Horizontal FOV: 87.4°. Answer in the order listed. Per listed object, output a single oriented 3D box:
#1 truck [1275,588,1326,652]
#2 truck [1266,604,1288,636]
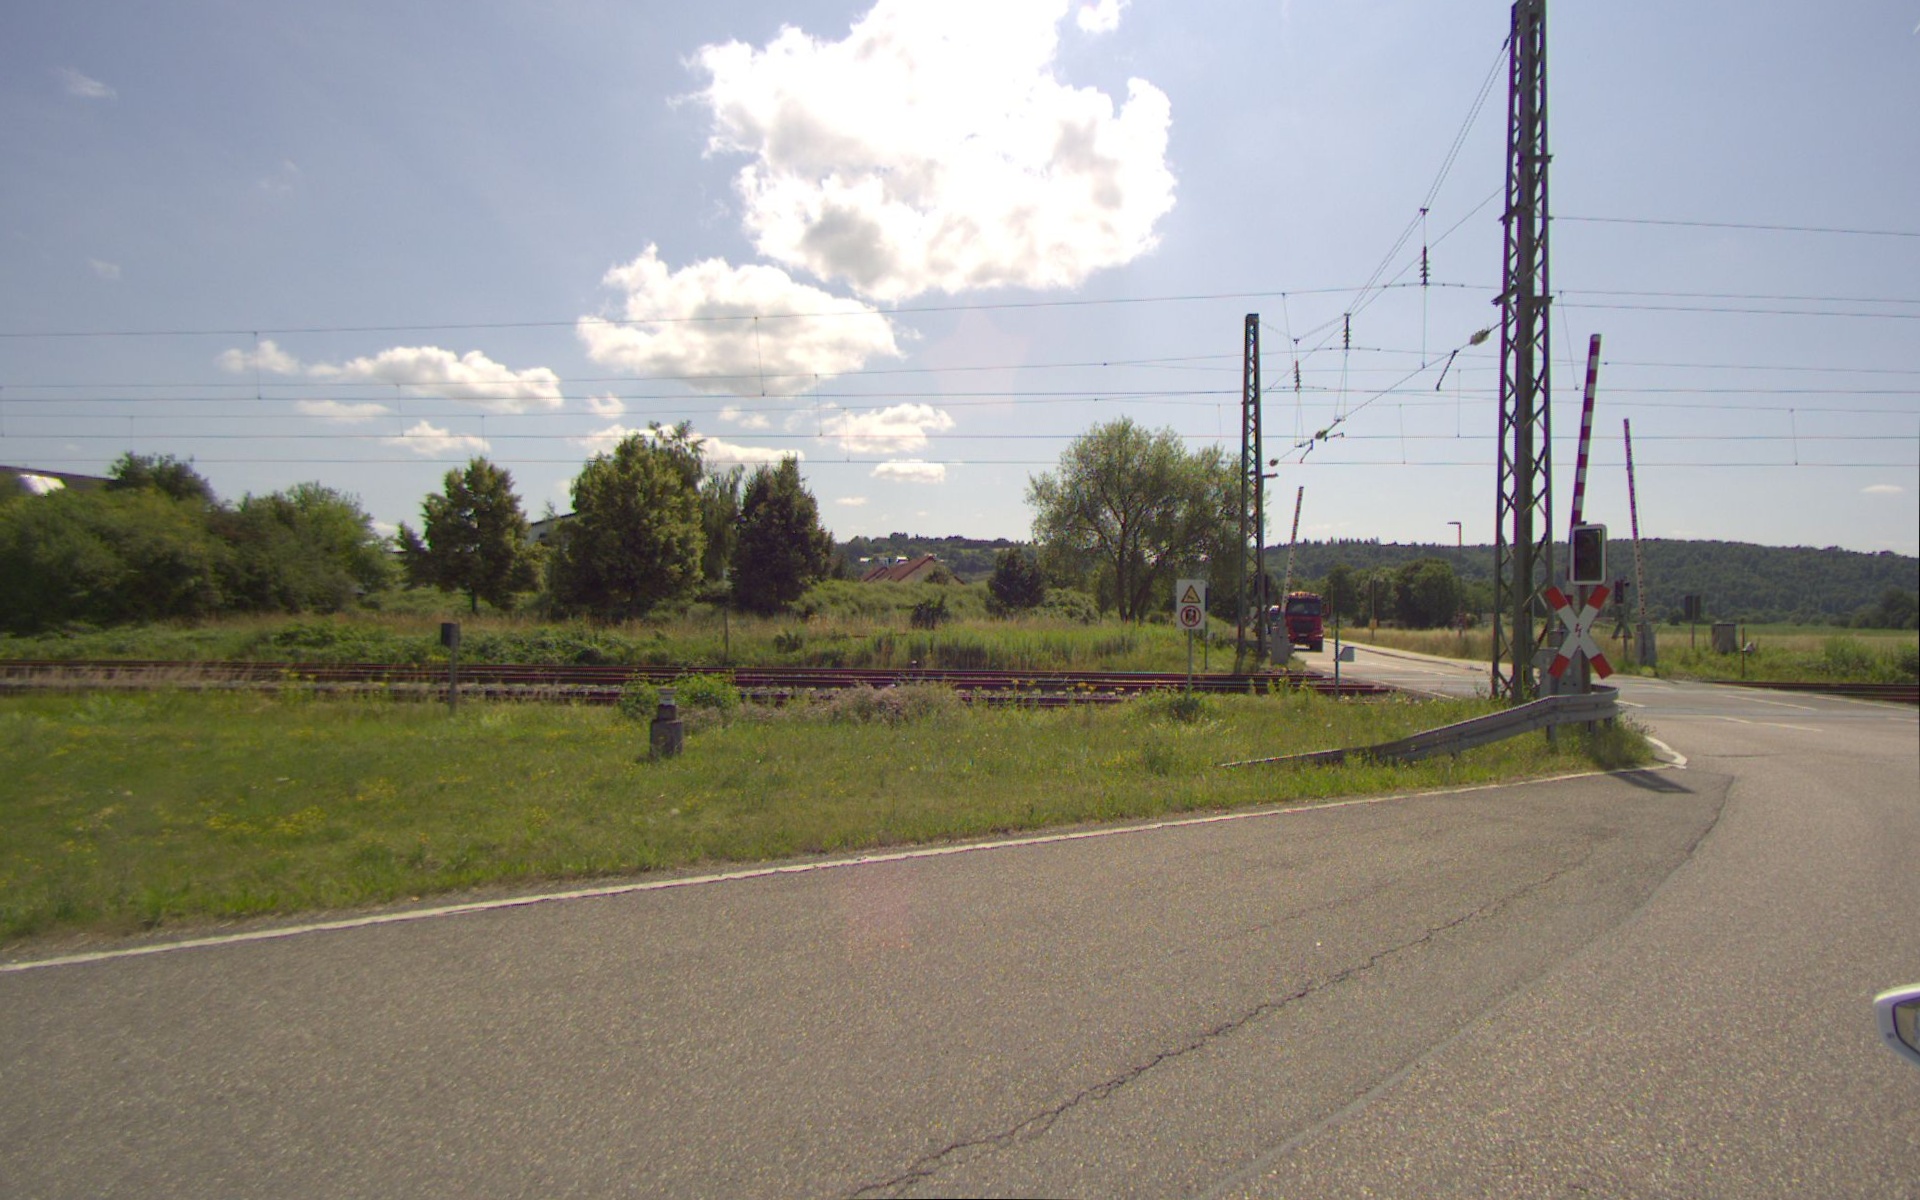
[{"bbox_3d":[22.287,1.308,66.198,2.824,3.795,12.153,1,-1,17],"label":"truck"},{"bbox_3d":[39.993,2.518,126.701,2.528,4.001,6.041,0,-1,17],"label":"truck"}]
